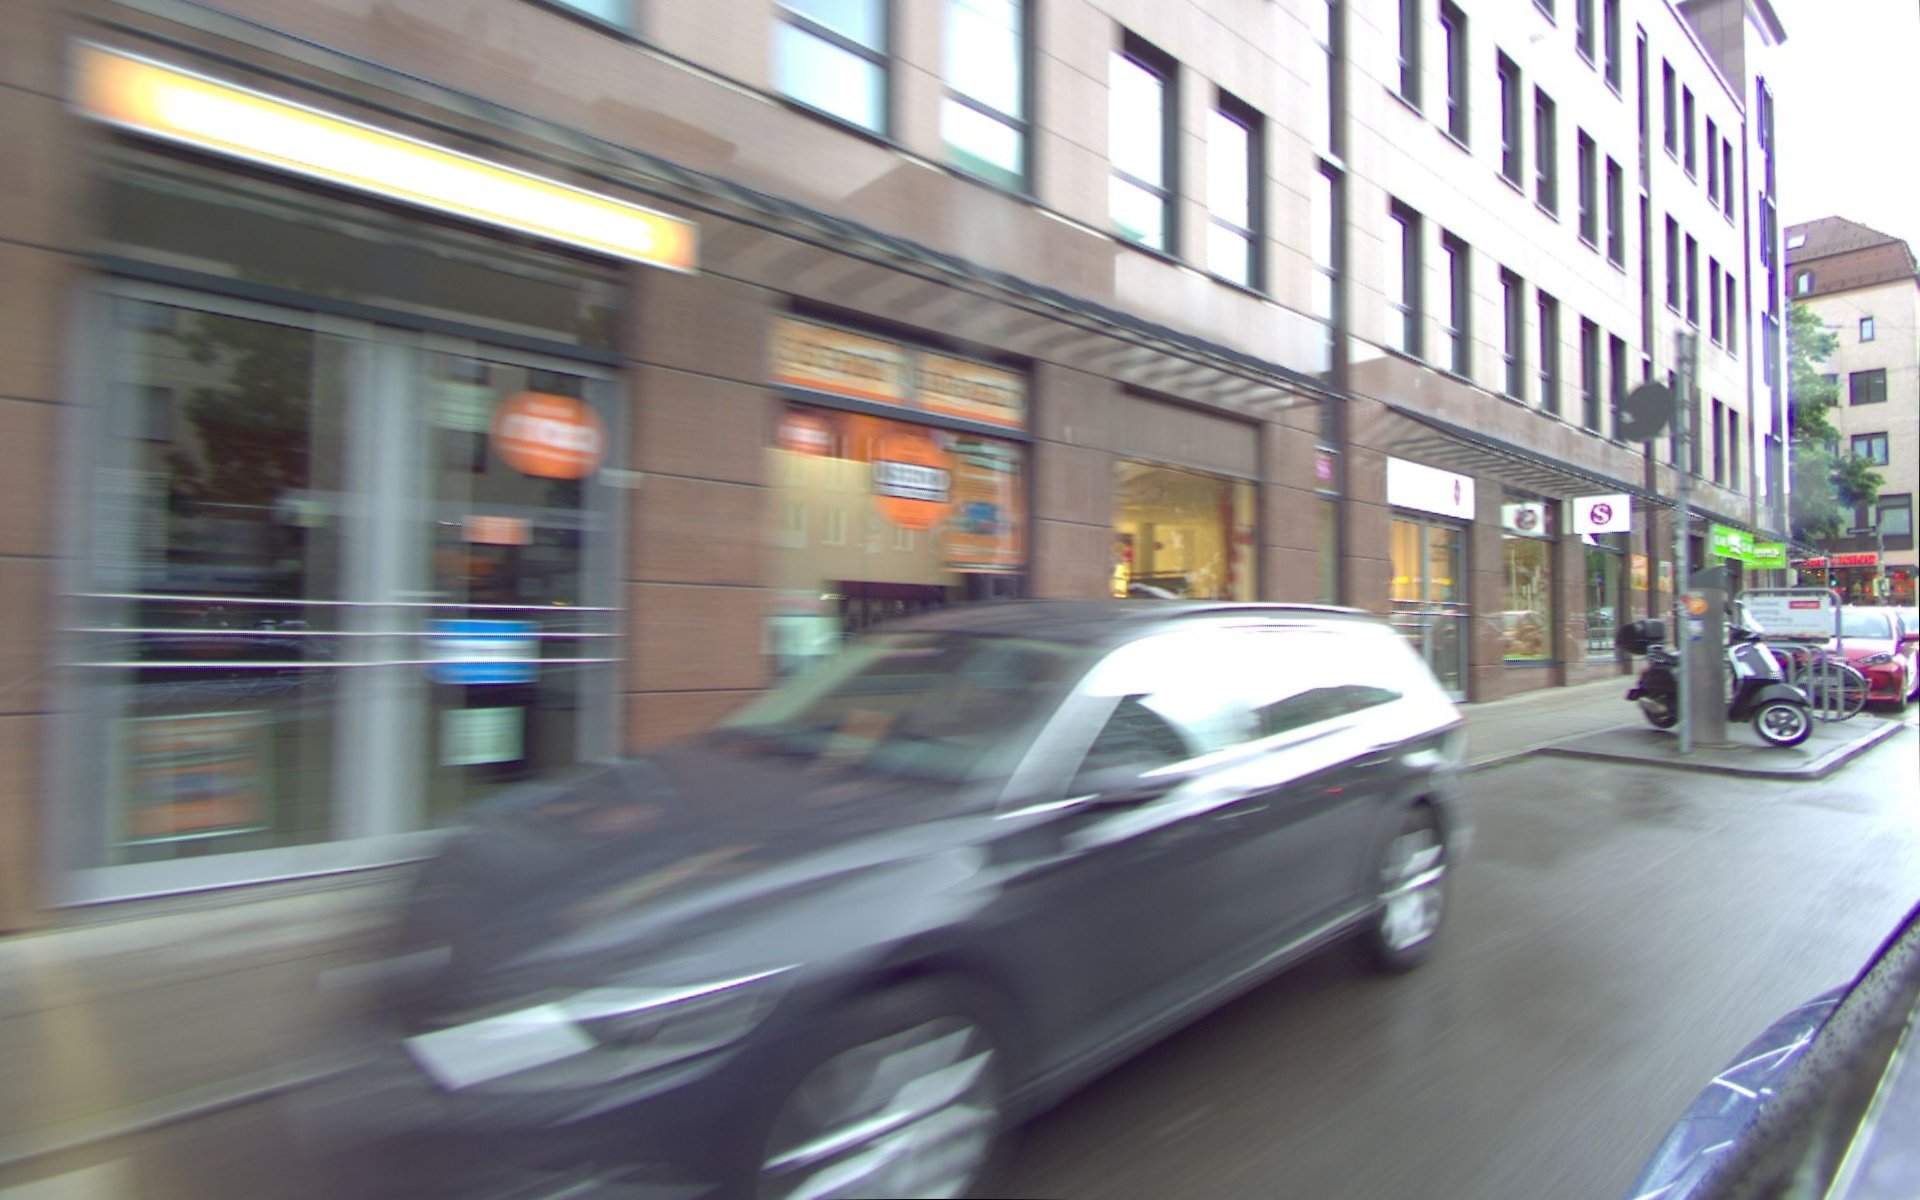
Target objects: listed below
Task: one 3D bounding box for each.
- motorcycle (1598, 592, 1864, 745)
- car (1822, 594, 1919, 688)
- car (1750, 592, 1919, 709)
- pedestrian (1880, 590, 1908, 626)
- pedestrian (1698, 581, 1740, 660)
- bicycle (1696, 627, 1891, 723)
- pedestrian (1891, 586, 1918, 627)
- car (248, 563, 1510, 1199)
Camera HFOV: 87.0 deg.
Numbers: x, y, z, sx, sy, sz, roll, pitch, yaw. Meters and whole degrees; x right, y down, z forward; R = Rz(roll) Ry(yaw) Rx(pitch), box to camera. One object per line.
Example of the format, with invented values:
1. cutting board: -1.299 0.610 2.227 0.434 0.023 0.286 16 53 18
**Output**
1. motorcycle: 7.952 0.634 10.582 0.782 1.425 2.095 0 0 -22
2. car: 17.130 0.673 18.294 3.798 1.498 1.702 -1 2 -39
3. car: 13.391 0.647 15.226 3.800 1.480 1.701 -1 2 -41
4. pedestrian: 43.076 0.362 46.671 0.614 1.670 0.725 0 0 0
5. pedestrian: 16.409 0.436 21.886 0.614 1.680 0.603 0 0 -40
6. bicycle: 10.145 0.876 12.383 0.454 1.044 1.789 0 0 -41
7. pedestrian: 43.741 0.294 46.879 0.585 1.843 0.667 0 0 0
8. car: 0.265 0.686 3.722 4.532 1.487 1.775 0 0 -43
